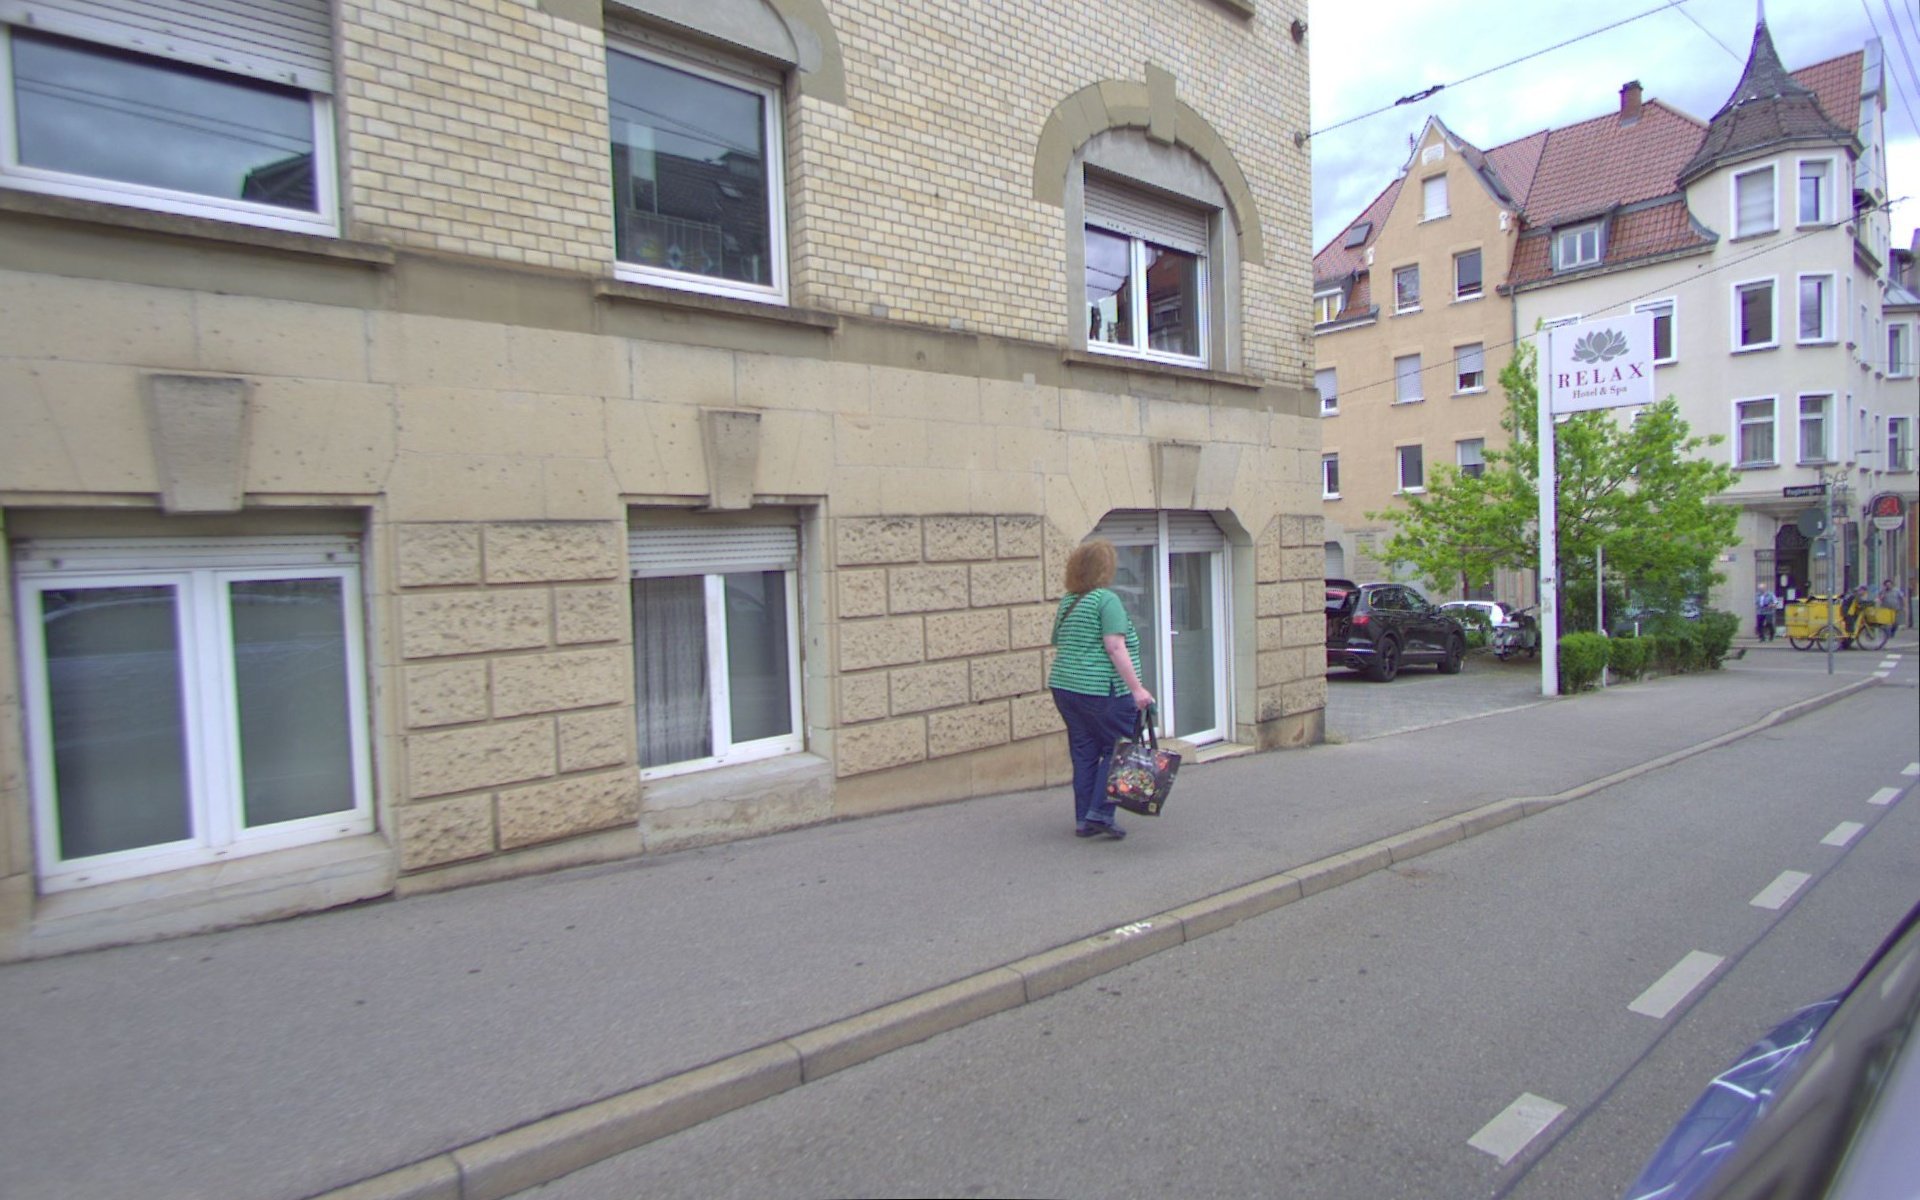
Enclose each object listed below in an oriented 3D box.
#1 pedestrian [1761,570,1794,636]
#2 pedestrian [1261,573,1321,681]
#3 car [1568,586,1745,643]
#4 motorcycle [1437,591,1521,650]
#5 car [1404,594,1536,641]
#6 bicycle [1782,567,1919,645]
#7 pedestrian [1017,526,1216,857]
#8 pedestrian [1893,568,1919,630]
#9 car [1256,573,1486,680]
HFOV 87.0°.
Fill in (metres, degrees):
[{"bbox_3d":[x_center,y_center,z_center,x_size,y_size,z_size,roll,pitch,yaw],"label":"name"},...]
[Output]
[{"bbox_3d":[22.606,0.076,27.982,0.482,1.790,0.485,0,-1,-7],"label":"pedestrian"},{"bbox_3d":[5.445,0.428,16.649,0.754,1.729,0.646,0,0,-40],"label":"pedestrian"},{"bbox_3d":[19.530,0.399,28.489,1.553,1.482,3.851,0,-1,-42],"label":"car"},{"bbox_3d":[11.922,0.449,23.219,2.346,1.118,0.928,-6,3,-42],"label":"motorcycle"},{"bbox_3d":[16.340,0.552,32.526,1.553,1.406,3.437,0,-1,-42],"label":"car"},{"bbox_3d":[22.717,0.146,25.668,2.678,1.890,1.182,-1,-1,1],"label":"bicycle"},{"bbox_3d":[0.879,0.452,5.739,0.870,1.707,0.653,2,2,43],"label":"pedestrian"},{"bbox_3d":[28.566,-0.037,30.494,0.621,1.826,0.600,0,0,-41],"label":"pedestrian"},{"bbox_3d":[7.632,0.407,18.528,5.009,1.704,1.996,0,0,-43],"label":"car"}]
